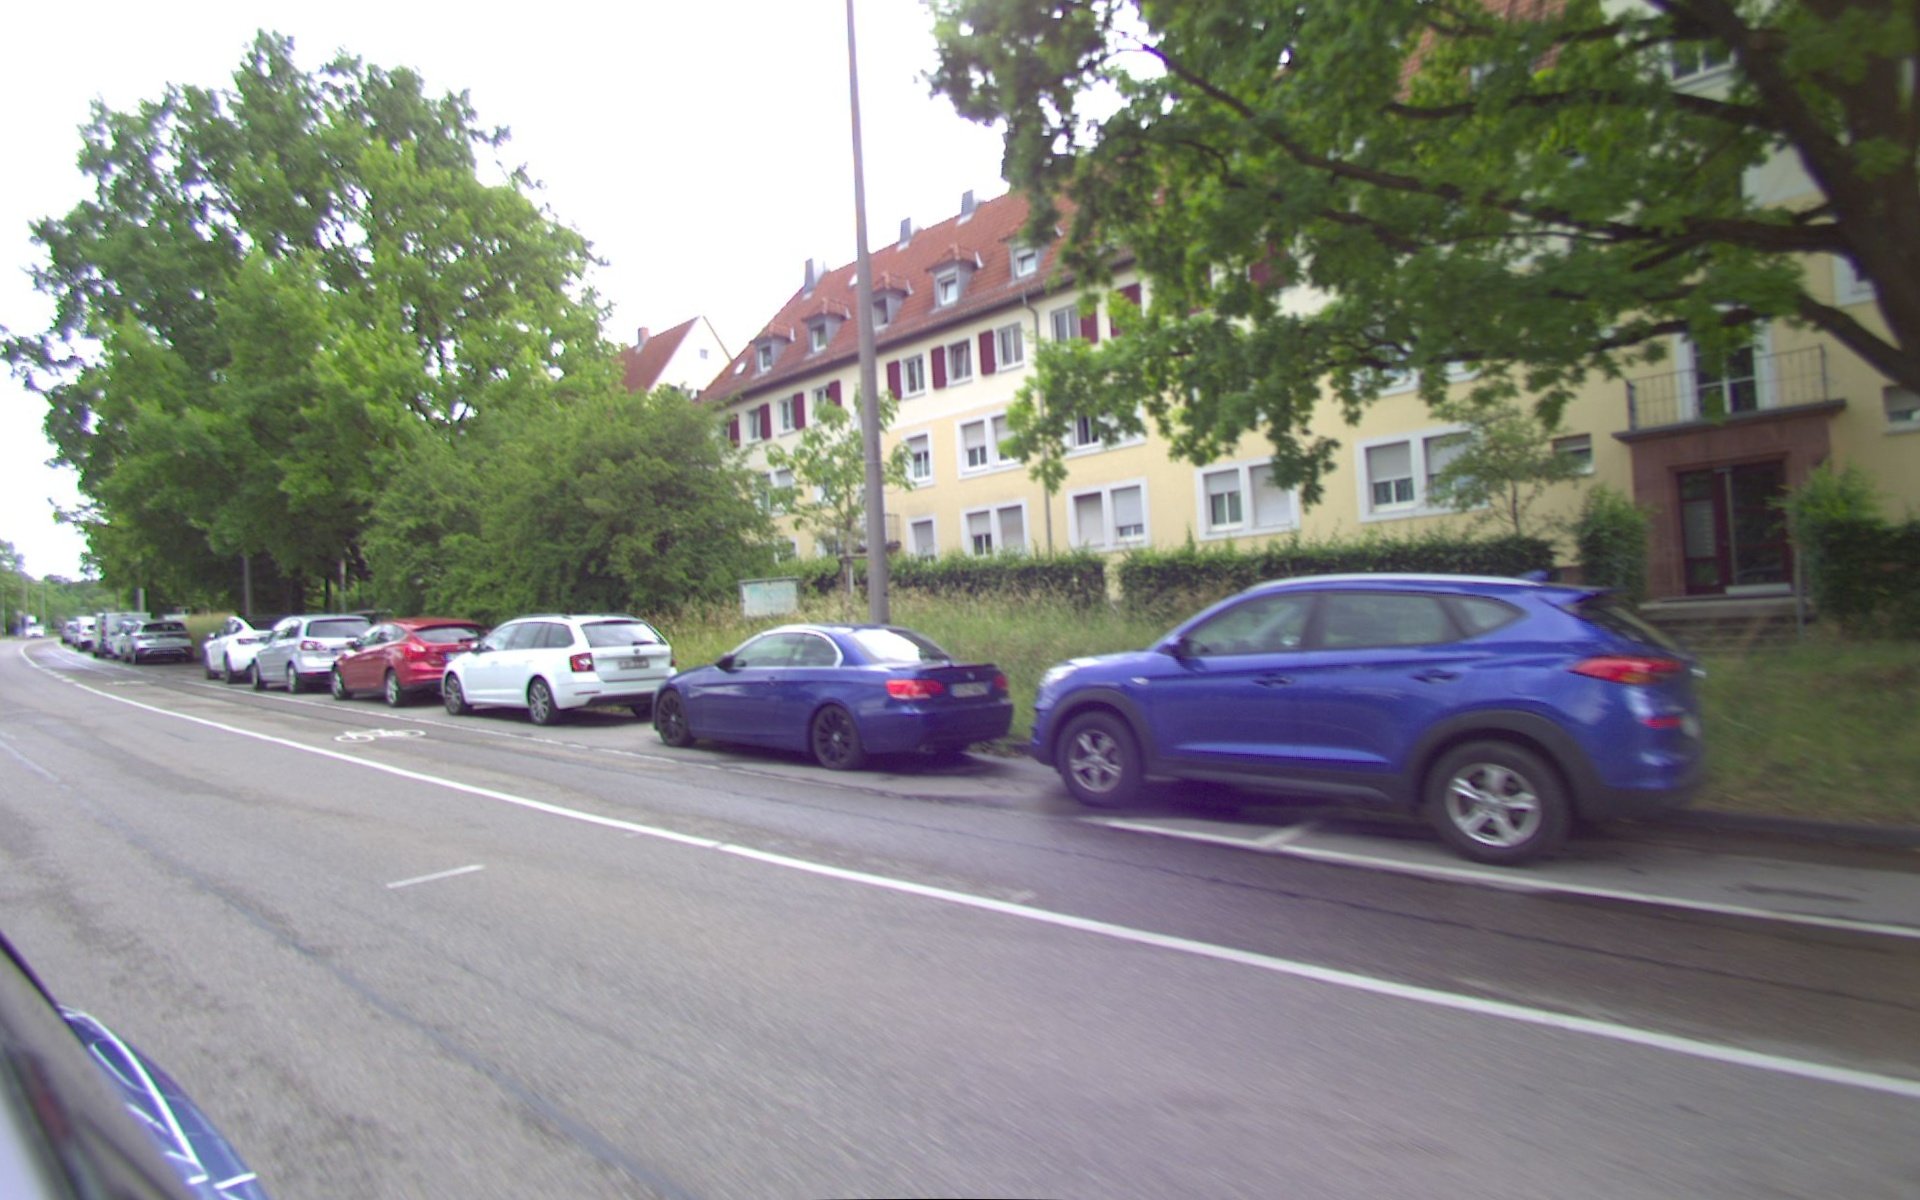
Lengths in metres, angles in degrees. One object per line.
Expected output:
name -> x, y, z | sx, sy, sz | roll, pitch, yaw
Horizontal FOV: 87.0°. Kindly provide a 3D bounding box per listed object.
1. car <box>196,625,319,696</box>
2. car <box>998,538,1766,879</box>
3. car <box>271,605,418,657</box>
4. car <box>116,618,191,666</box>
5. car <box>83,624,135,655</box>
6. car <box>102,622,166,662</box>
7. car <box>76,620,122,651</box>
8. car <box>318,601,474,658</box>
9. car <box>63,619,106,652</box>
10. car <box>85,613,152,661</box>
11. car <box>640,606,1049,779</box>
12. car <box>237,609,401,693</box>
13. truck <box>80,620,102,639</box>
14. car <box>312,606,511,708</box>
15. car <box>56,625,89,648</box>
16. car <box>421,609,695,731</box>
car -> -17.832, 1.456, 25.593 | 1.747, 1.585, 4.762 | 0, -1, -45
car -> 2.583, 0.596, 6.970 | 4.532, 1.625, 1.698 | -3, -1, 41
car -> -23.598, 1.162, 38.897 | 1.868, 1.461, 4.388 | -2, 4, 41
car -> -29.787, 1.518, 37.336 | 1.746, 1.646, 4.161 | -1, -1, -44
car -> -43.129, 1.973, 51.248 | 4.092, 1.490, 1.643 | -2, -1, 45
car -> -33.201, 1.680, 40.650 | 3.720, 1.493, 1.563 | -2, -1, 44
car -> -47.053, 1.931, 55.281 | 1.654, 1.576, 4.284 | 0, -1, -44
car -> -19.753, 0.999, 35.542 | 4.380, 1.465, 1.889 | -7, 4, -42
car -> -54.972, 2.238, 63.491 | 1.747, 1.945, 5.159 | -2, 0, -44
car -> -37.168, 1.622, 44.654 | 1.845, 1.978, 5.130 | -1, -1, -44
car -> -1.350, 0.819, 10.465 | 4.336, 1.400, 1.697 | -2, 0, 41
car -> -13.814, 1.038, 21.717 | 4.117, 1.585, 1.849 | -1, 0, 41
truck -> -172.018, 5.830, 200.365 | 2.788, 3.507, 7.840 | -1, -1, -37
car -> -9.930, 0.953, 18.184 | 4.368, 1.585, 1.698 | -1, 0, 41
car -> -66.949, 2.745, 76.305 | 1.747, 1.604, 4.139 | -1, -1, -43
car -> -5.996, 0.921, 14.782 | 4.754, 1.470, 1.698 | -1, 0, 41
